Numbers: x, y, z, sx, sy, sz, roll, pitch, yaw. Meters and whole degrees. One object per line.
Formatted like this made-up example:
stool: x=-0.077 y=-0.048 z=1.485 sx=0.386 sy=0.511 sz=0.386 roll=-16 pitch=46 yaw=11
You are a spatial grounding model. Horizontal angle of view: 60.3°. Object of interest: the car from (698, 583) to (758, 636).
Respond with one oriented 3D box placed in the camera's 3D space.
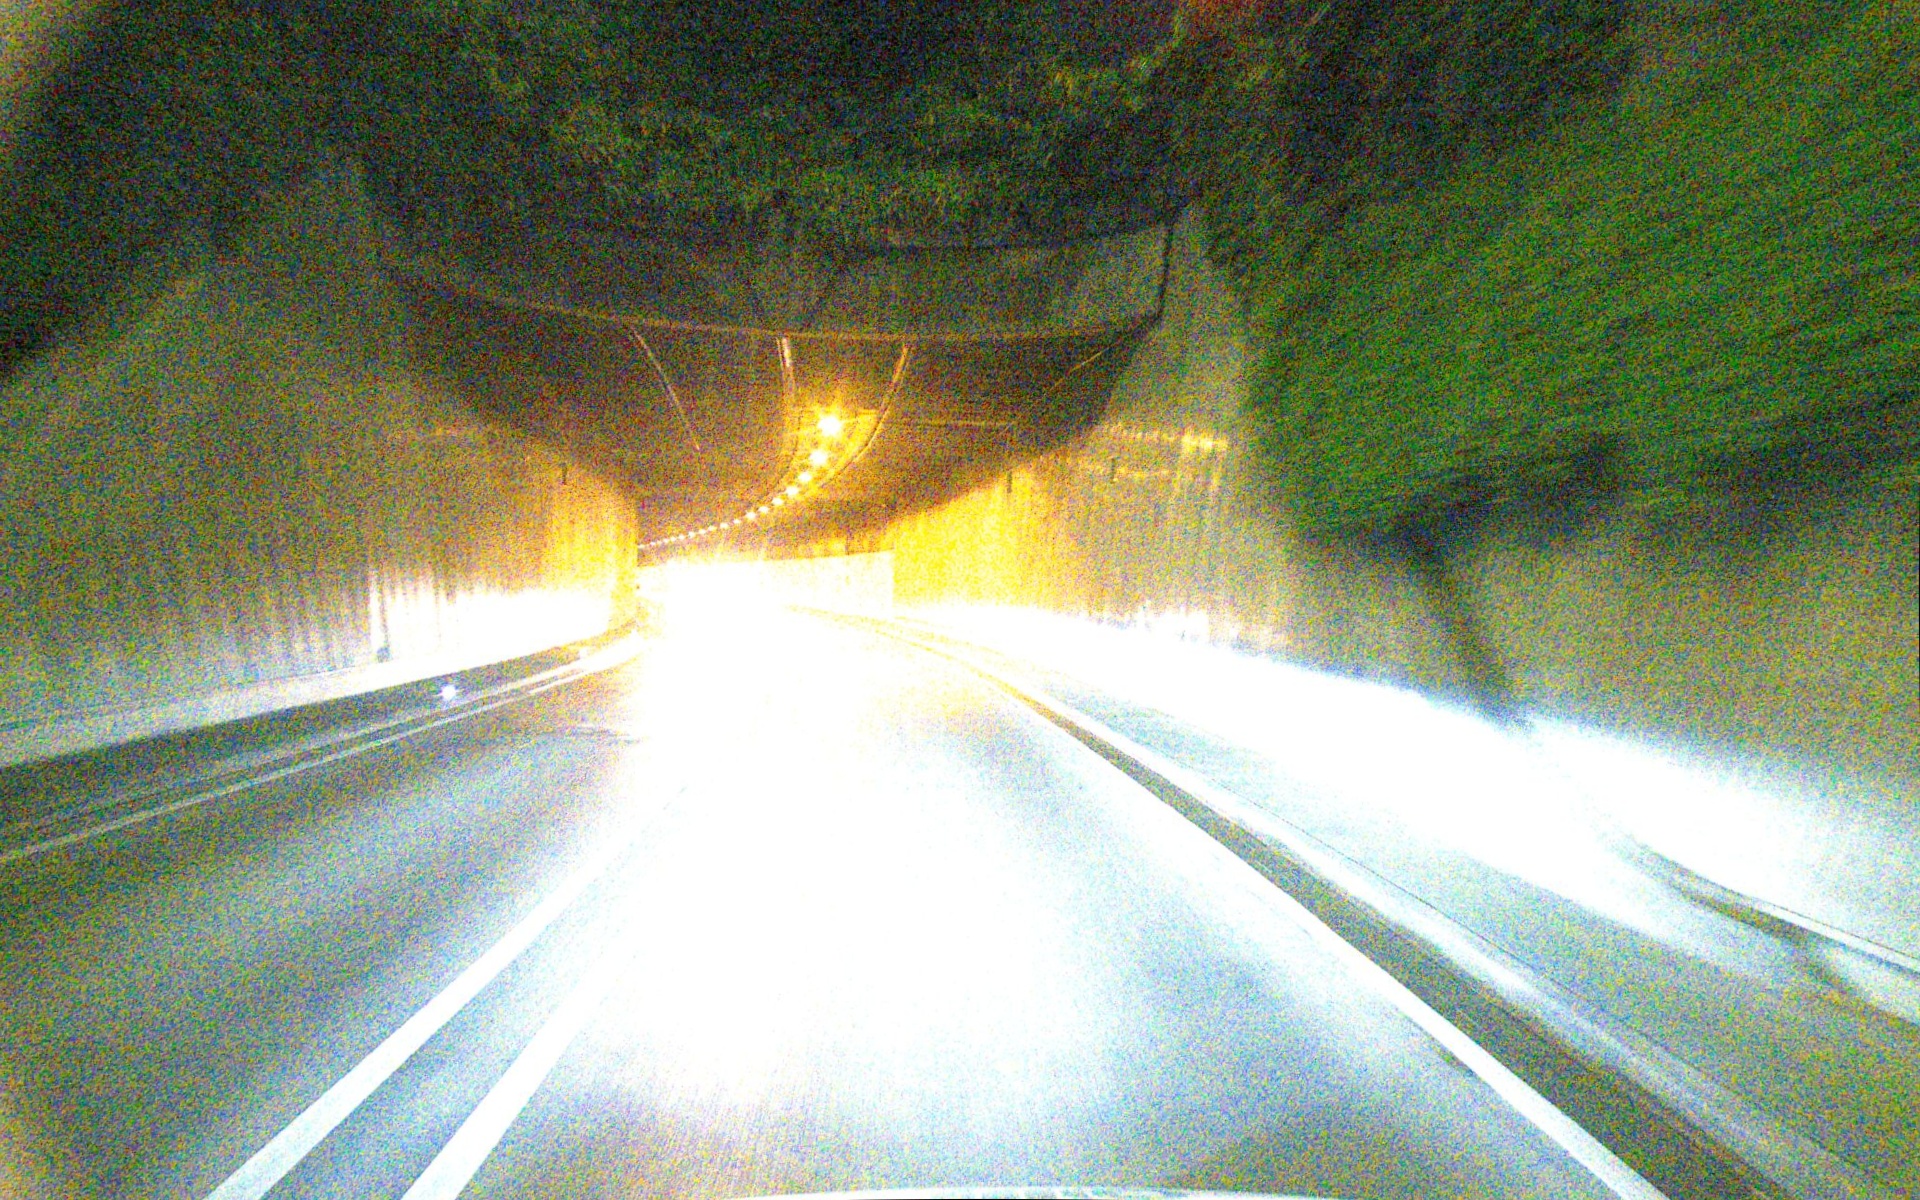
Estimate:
car: x=-6.993 y=0.259 z=49.688 sx=1.684 sy=1.468 sz=4.385 roll=2 pitch=0 yaw=-9
